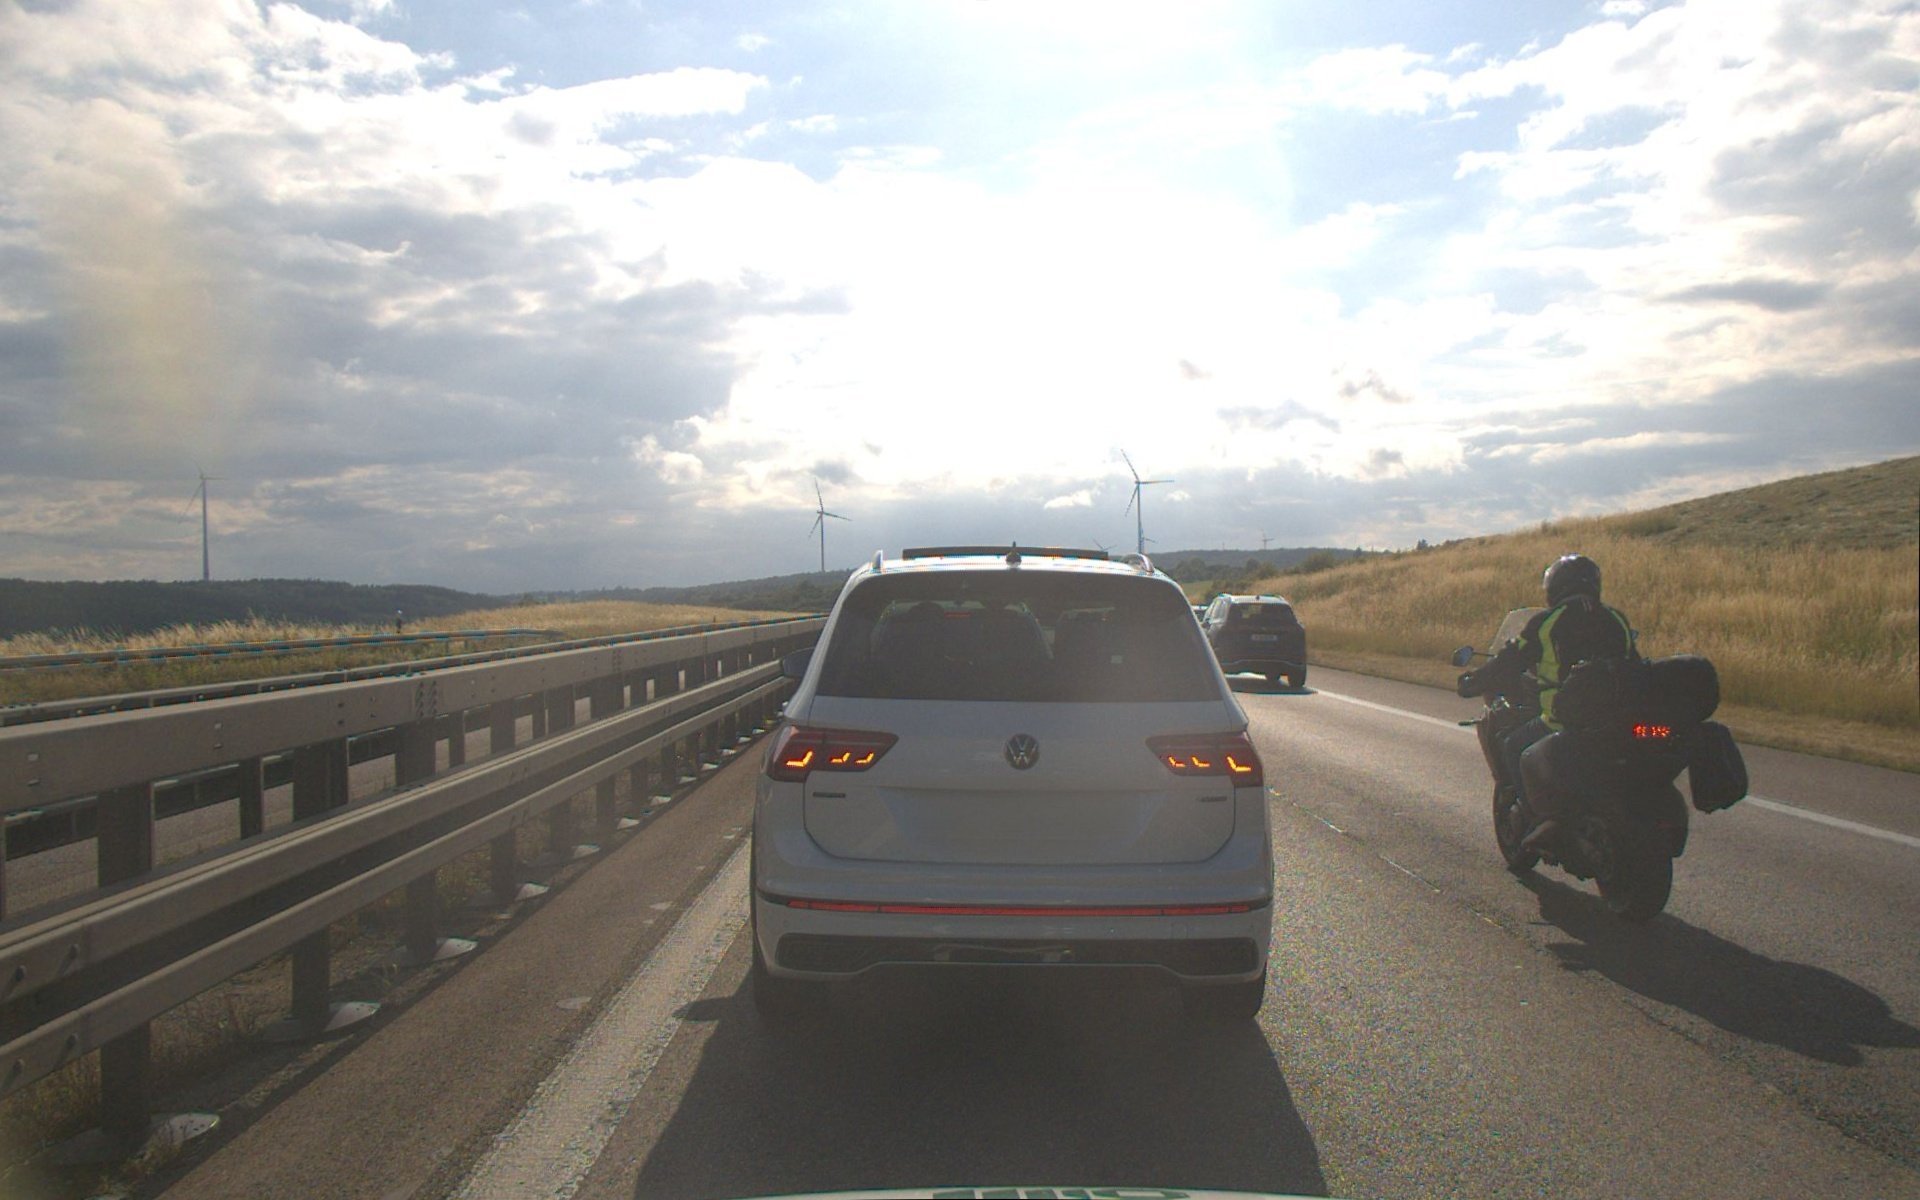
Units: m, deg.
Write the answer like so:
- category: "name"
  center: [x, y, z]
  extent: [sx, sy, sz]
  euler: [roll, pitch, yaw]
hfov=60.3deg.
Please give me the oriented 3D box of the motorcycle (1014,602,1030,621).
- category: "motorcycle"
  center: [4.066, 0.774, 108.651]
  extent: [0.877, 1.211, 2.256]
  euler: [0, 0, -1]

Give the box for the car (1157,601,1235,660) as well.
- category: "car"
  center: [5.982, 0.757, 42.182]
  extent: [1.572, 1.445, 3.673]
  euler: [0, 0, 2]

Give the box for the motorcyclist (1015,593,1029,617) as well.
- category: "motorcyclist"
  center: [4.070, 0.310, 108.610]
  extent: [0.832, 1.587, 0.934]
  euler: [0, -1, -1]

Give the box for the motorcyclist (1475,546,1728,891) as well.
- category: "motorcyclist"
  center: [3.220, 0.568, 8.405]
  extent: [0.877, 1.645, 1.022]
  euler: [0, -1, -1]

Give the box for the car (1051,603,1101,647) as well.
- category: "car"
  center: [4.616, 0.988, 66.339]
  extent: [1.669, 1.679, 3.999]
  euler: [0, 0, -1]

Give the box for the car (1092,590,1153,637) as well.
- category: "car"
  center: [5.580, 0.466, 57.090]
  extent: [1.669, 1.573, 3.999]
  euler: [0, 0, -1]

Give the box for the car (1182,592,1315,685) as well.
- category: "car"
  center: [5.492, 0.708, 31.949]
  extent: [1.784, 1.629, 4.234]
  euler: [2, 0, 0]

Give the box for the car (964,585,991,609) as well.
- category: "car"
  center: [1.138, -0.174, 109.985]
  extent: [1.669, 1.573, 3.999]
  euler: [0, 0, -1]

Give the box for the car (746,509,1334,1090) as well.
- category: "car"
  center: [0.214, 0.598, 6.880]
  extent: [1.734, 1.705, 3.999]
  euler: [0, 0, -1]

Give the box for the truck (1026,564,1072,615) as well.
- category: "truck"
  center: [6.687, -0.815, 125.596]
  extent: [3.118, 3.656, 11.132]
  euler: [0, 0, 1]

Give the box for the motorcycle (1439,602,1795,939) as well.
- category: "motorcycle"
  center: [3.223, 0.757, 8.421]
  extent: [0.877, 1.481, 2.268]
  euler: [0, 0, -1]

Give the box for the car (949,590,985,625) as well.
- category: "car"
  center: [0.339, 0.362, 80.232]
  extent: [1.669, 1.679, 3.999]
  euler: [0, 0, -1]
